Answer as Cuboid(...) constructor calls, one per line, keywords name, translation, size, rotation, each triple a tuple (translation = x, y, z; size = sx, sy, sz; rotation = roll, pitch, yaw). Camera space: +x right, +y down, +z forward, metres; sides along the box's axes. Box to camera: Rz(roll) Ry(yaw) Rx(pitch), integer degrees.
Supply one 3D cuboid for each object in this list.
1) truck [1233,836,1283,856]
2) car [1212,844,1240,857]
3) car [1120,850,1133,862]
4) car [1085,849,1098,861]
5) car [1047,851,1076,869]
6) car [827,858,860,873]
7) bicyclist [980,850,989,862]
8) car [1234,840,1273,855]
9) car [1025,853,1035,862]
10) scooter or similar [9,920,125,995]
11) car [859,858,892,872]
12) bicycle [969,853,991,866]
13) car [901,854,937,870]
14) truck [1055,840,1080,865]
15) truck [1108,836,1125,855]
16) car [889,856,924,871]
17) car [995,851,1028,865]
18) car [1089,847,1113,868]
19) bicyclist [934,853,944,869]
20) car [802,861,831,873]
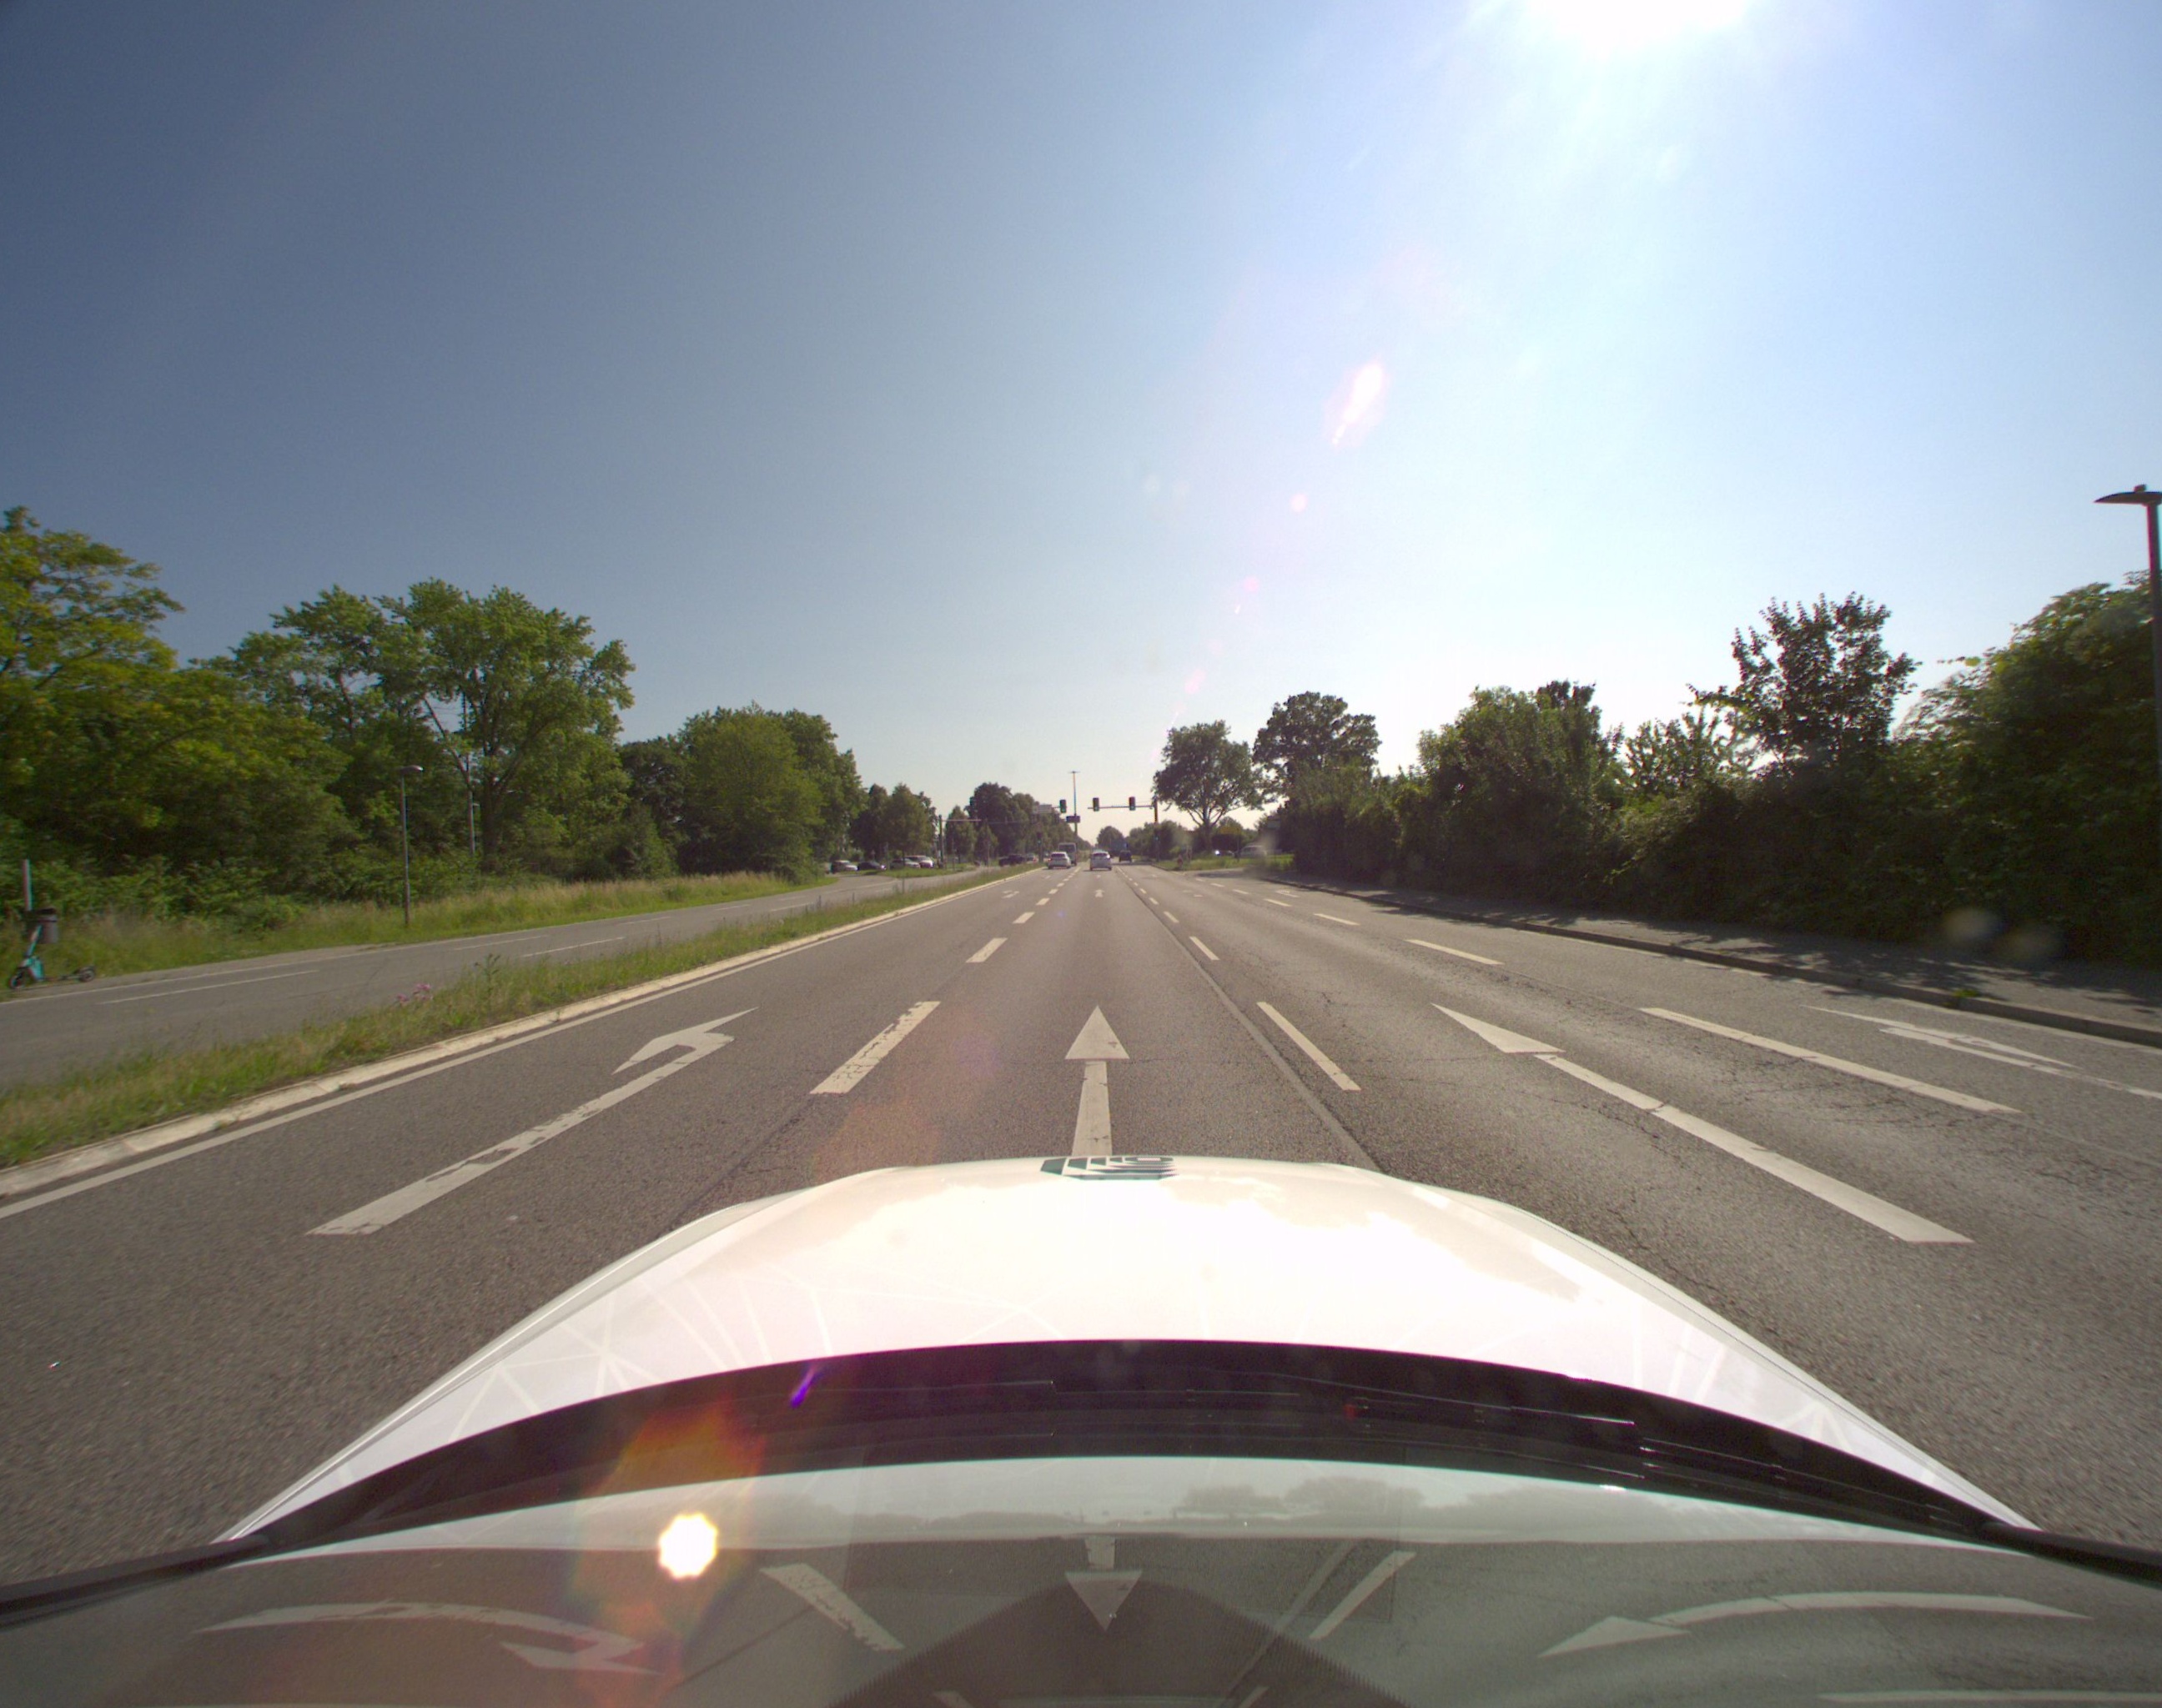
Cuboid(name="truck", translation=(22.106, -0.942, 102.007), size=(2.353, 2.386, 6.410), rotation=(1, -1, -32))
Cuboid(name="car", translation=(18.987, -0.423, 107.066), size=(1.626, 1.547, 3.789), rotation=(0, -1, -29))
Cuboid(name="car", translation=(5.637, 0.215, 101.218), size=(1.566, 1.414, 3.278), rotation=(-1, 0, 1))
Cuboid(name="car", translation=(1.352, 0.116, 101.352), size=(1.566, 1.414, 3.279), rotation=(-2, 1, 1))
Cuboid(name="car", translation=(-1.650, 0.502, 71.070), size=(1.803, 1.464, 4.980), rotation=(-2, 0, 6))
Cuboid(name="car", translation=(-32.637, 1.590, 111.834), size=(4.448, 1.800, 2.018), rotation=(-3, 0, 36))
Cuboid(name="bicyclist", translation=(-13.168, 0.257, 111.084), size=(0.854, 1.618, 0.763), rotation=(-1, 0, 29))
Cuboid(name="car", translation=(18.120, -0.697, 85.597), size=(3.708, 1.469, 1.796), rotation=(-2, 0, 25))
Cuboid(name="car", translation=(-9.127, 0.686, 146.390), size=(1.480, 1.414, 3.763), rotation=(-5, 0, 1))
Cuboid(name="scooter or similar", translation=(-18.570, 1.867, 14.951), size=(0.367, 1.186, 1.341), rotation=(-4, 0, 1))
Cuboid(name="car", translation=(-27.207, 1.472, 107.757), size=(4.212, 1.606, 2.018), rotation=(-3, 0, 36))
Cuboid(name="bicycle", translation=(-13.795, 0.774, 111.430), size=(2.765, 1.670, 1.143), rotation=(-2, 0, 28))
Cuboid(name="car", translation=(-21.409, 1.032, 107.699), size=(4.595, 1.950, 2.013), rotation=(-2, 0, 36))
Cuboid(name="truck", translation=(-1.346, -0.221, 83.855), size=(2.365, 2.388, 6.041), rotation=(-2, 1, 1))
Cuboid(name="truck", translation=(6.844, -1.625, 157.888), size=(2.881, 3.428, 9.172), rotation=(-2, 1, 1))
Cuboid(name="car", translation=(-22.397, 1.230, 104.209), size=(4.212, 1.606, 2.018), rotation=(-3, 0, 36))
Cuboid(name="car", translation=(-8.687, 0.514, 101.480), size=(1.925, 1.649, 3.950), rotation=(-1, 0, -45))
Cuboid(name="car", translation=(1.582, 0.244, 63.714), size=(1.792, 1.552, 4.002), rotation=(-1, 1, 2))
Cuboid(name="bicyclist", translation=(-14.092, 0.671, 80.800), size=(0.842, 1.517, 0.748), rotation=(-1, 0, 6))
Cuboid(name="car", translation=(-37.494, 1.901, 115.439), size=(4.072, 1.512, 1.932), rotation=(-3, 0, 36))
